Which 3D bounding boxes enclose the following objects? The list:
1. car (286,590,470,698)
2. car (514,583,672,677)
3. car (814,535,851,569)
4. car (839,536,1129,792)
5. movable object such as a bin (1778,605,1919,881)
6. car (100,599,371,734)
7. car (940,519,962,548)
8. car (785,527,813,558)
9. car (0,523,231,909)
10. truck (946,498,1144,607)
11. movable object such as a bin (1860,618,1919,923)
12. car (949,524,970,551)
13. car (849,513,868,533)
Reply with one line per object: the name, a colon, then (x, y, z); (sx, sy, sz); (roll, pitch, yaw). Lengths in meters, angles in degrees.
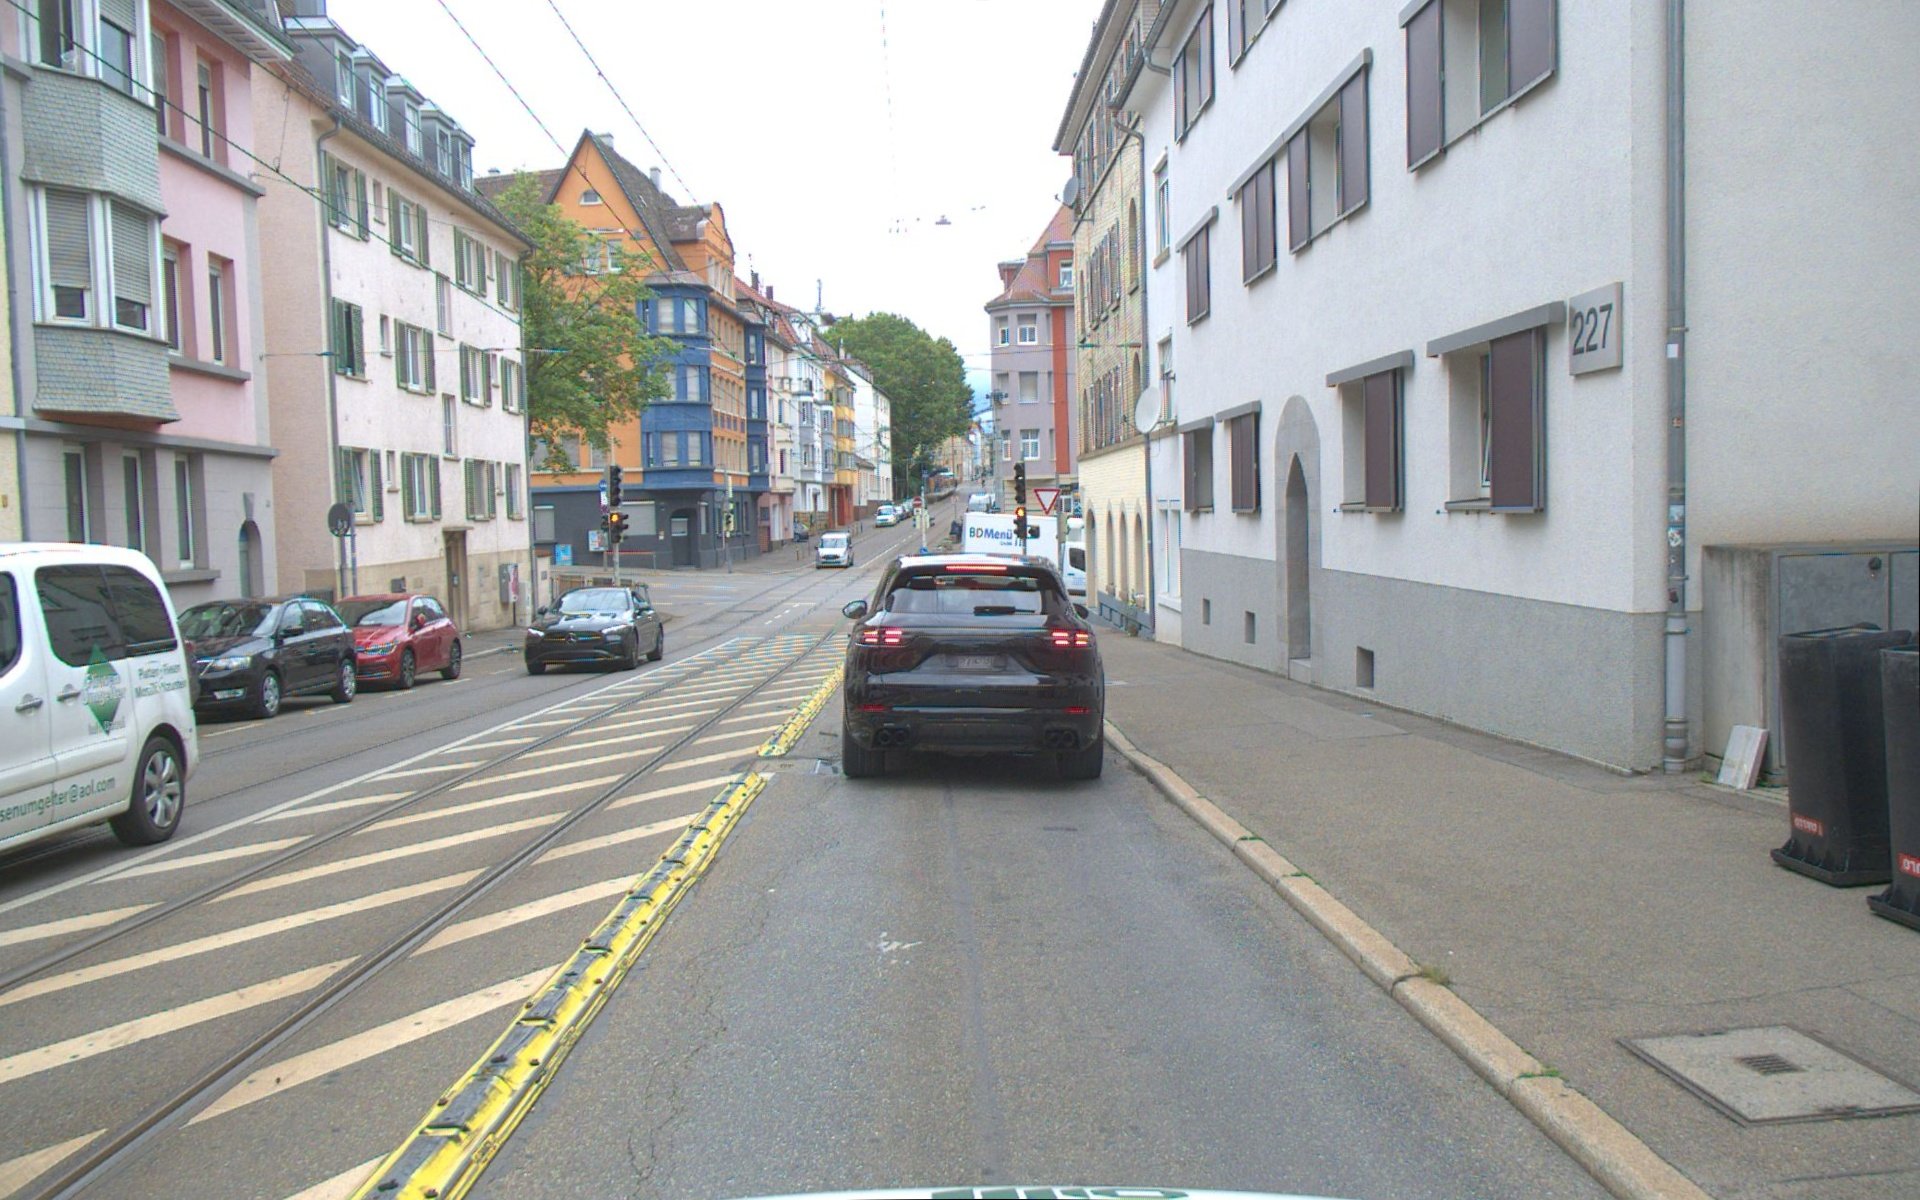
car: (-9.188, 0.639, 26.431); (1.588, 1.516, 4.045); (-3, 0, -3)
car: (-6.412, 0.462, 29.386); (1.882, 1.449, 4.497); (-2, 1, -2)
car: (-6.987, -2.636, 91.107); (1.715, 1.790, 4.253); (-2, 1, -1)
car: (0.115, 0.406, 13.418); (1.953, 1.705, 3.999); (-2, 1, -2)
movable object such as a bin: (3.919, 0.587, 7.030); (0.598, 1.098, 0.541); (-2, 1, 0)
car: (-9.032, 0.760, 21.007); (1.701, 1.434, 3.999); (-2, 1, -1)
car: (-0.583, -4.279, 106.764); (1.366, 1.752, 3.358); (-2, 1, -1)
car: (-9.714, -3.459, 100.124); (1.366, 1.752, 3.358); (-2, 1, -1)
car: (-5.567, 0.577, 8.351); (1.882, 1.850, 4.217); (-2, 1, -1)
truck: (2.866, -1.563, 56.129); (6.255, 3.429, 2.345); (-1, 1, 26)
movable object such as a bin: (3.781, 0.622, 6.056); (0.576, 1.098, 0.692); (-2, 1, 1)
car: (-0.028, -4.288, 113.493); (1.366, 1.752, 3.358); (-2, 1, -1)
car: (-8.282, -6.266, 135.380); (1.366, 1.476, 3.358); (-2, 1, -1)
